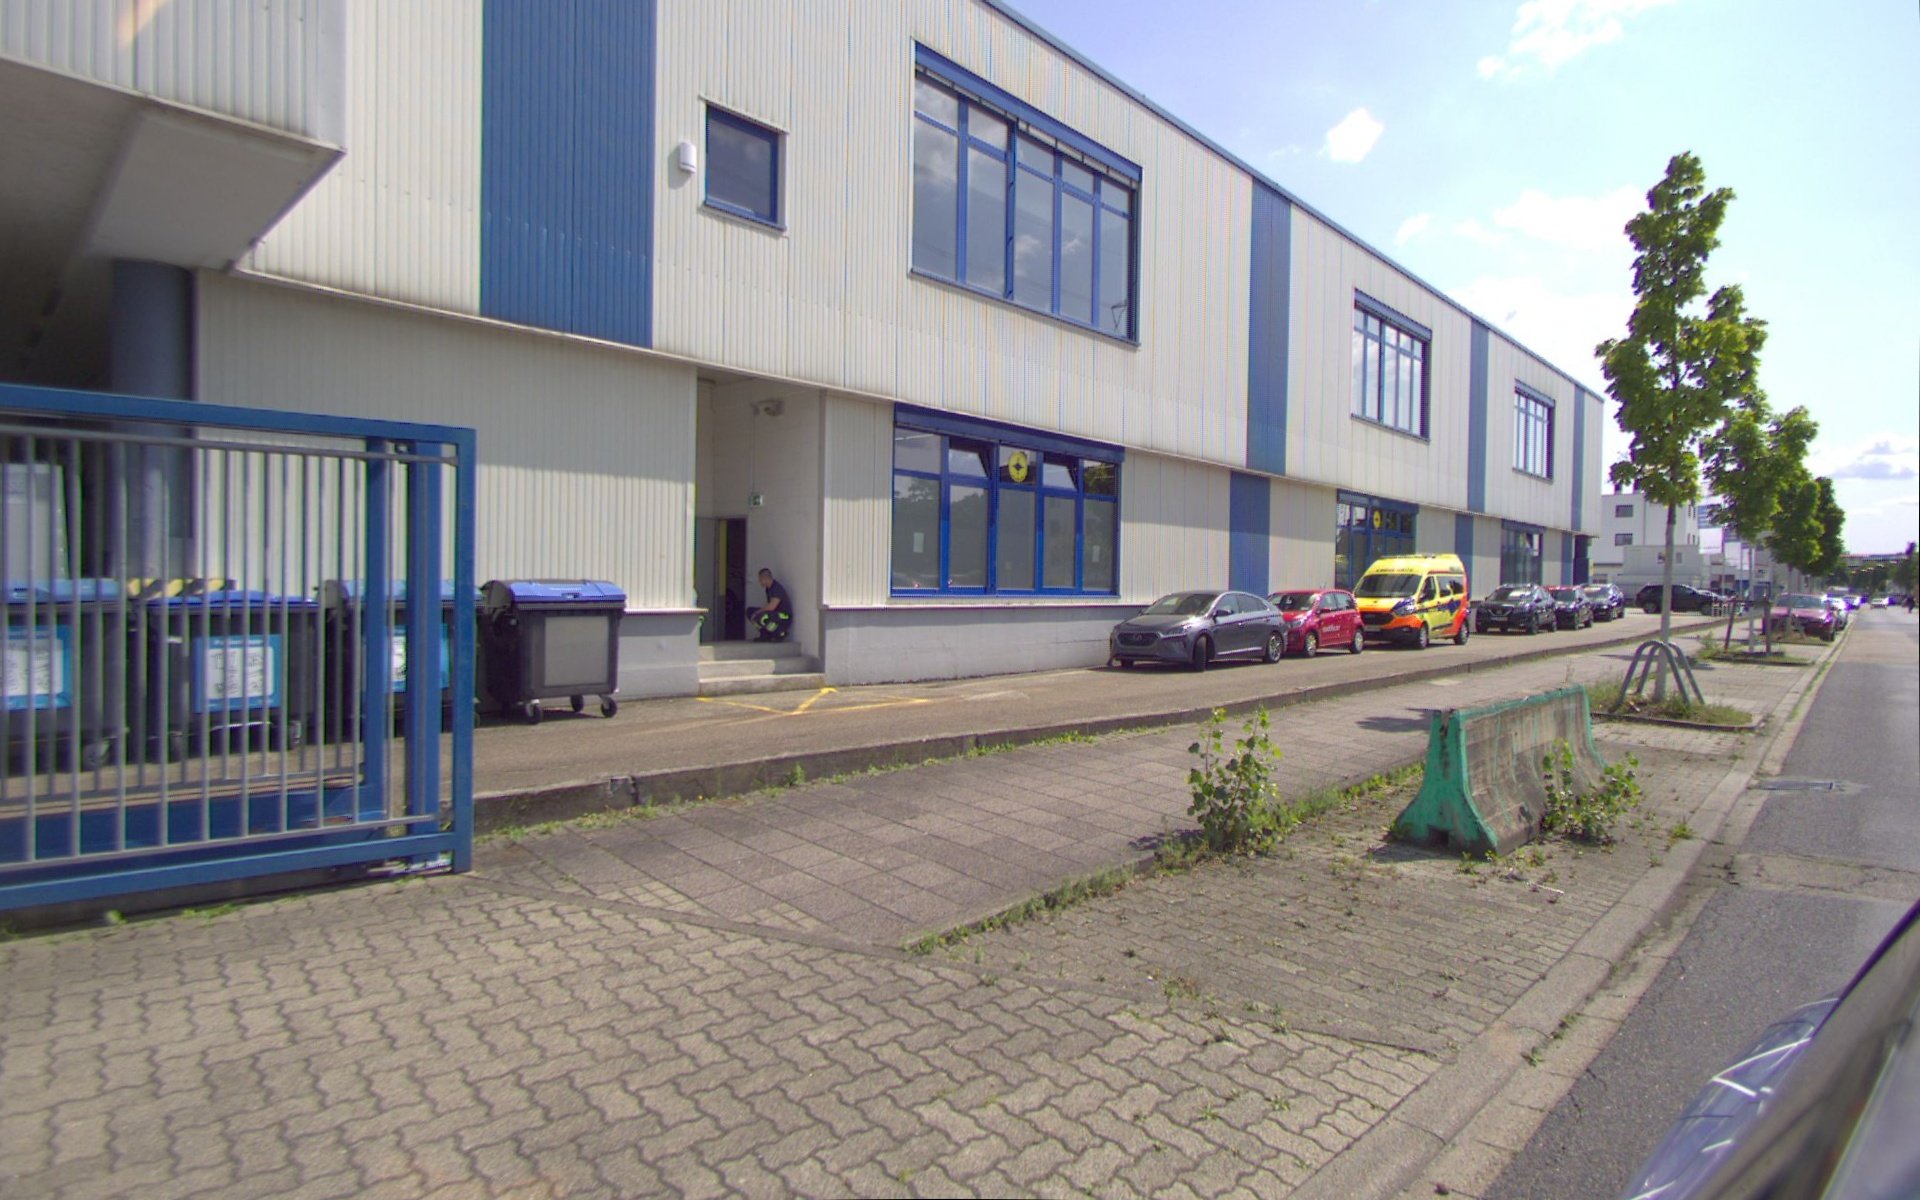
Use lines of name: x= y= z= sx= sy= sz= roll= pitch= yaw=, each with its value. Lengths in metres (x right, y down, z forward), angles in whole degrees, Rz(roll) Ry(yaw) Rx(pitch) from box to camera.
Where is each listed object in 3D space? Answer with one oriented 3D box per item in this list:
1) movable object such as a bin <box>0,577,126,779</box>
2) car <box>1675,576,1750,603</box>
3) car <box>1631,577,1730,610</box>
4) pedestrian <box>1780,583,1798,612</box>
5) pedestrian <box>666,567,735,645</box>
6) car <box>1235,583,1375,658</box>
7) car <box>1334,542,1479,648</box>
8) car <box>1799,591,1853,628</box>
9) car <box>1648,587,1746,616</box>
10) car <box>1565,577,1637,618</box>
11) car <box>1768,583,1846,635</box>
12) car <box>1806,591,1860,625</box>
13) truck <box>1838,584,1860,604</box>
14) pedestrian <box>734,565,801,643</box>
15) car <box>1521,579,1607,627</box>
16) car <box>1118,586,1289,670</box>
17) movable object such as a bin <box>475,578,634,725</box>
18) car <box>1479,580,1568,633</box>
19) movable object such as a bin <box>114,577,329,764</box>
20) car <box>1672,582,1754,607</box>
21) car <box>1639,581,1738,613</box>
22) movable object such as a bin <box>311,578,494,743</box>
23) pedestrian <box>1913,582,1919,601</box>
movable object such as a bin: x=-7.008 y=0.550 z=7.512 sx=0.803 sy=1.431 sz=1.157 roll=0 pitch=0 yaw=41
car: x=49.505 y=-0.681 z=66.604 sx=3.805 sy=1.701 sz=1.764 roll=1 pitch=1 yaw=43
car: x=38.305 y=-0.375 z=53.836 sx=4.082 sy=1.707 sz=1.970 roll=1 pitch=1 yaw=42
pedestrian: x=51.569 y=-0.171 z=62.964 sx=0.769 sy=1.778 sz=0.775 roll=4 pitch=3 yaw=42
pedestrian: x=-3.528 y=0.088 z=13.750 sx=0.564 sy=1.026 sz=0.699 roll=-3 pitch=-2 yaw=43
car: x=7.716 y=0.388 z=22.461 sx=1.572 sy=1.509 sz=3.758 roll=0 pitch=1 yaw=43
car: x=11.767 y=-0.148 z=26.447 sx=1.923 sy=2.495 sz=5.178 roll=0 pitch=1 yaw=43
car: x=37.957 y=0.378 z=44.344 sx=1.668 sy=1.539 sz=3.934 roll=0 pitch=1 yaw=43
car: x=41.718 y=0.062 z=57.351 sx=4.280 sy=1.438 sz=1.968 roll=2 pitch=2 yaw=44
car: x=27.499 y=-0.157 z=43.364 sx=1.827 sy=1.530 sz=4.571 roll=1 pitch=4 yaw=43
car: x=29.064 y=0.264 z=34.690 sx=1.755 sy=1.671 sz=4.603 roll=0 pitch=1 yaw=44
car: x=41.478 y=0.351 z=48.050 sx=1.834 sy=1.539 sz=4.393 roll=1 pitch=1 yaw=42
truck: x=153.623 y=-1.094 z=174.934 sx=2.597 sy=3.267 sz=7.958 roll=-2 pitch=-1 yaw=41
pedestrian: x=-2.755 y=0.056 z=14.518 sx=0.564 sy=1.089 sz=0.739 roll=-3 pitch=-2 yaw=43
car: x=23.129 y=0.057 z=38.698 sx=1.993 sy=1.677 sz=4.224 roll=1 pitch=2 yaw=43
car: x=4.676 y=0.457 z=19.103 sx=1.495 sy=1.421 sz=3.795 roll=0 pitch=1 yaw=43
movable object such as a bin: x=-4.238 y=0.489 z=10.626 sx=0.803 sy=1.431 sz=1.337 roll=0 pitch=0 yaw=42
car: x=19.392 y=0.154 z=34.752 sx=1.714 sy=1.672 sz=4.150 roll=1 pitch=2 yaw=43
movable object such as a bin: x=-6.191 y=0.528 z=8.515 sx=0.803 sy=1.431 sz=1.337 roll=0 pitch=0 yaw=42
car: x=48.039 y=-0.363 z=64.627 sx=3.988 sy=1.438 sz=1.968 roll=2 pitch=2 yaw=44
car: x=39.888 y=-0.173 z=55.478 sx=4.223 sy=1.668 sz=2.115 roll=1 pitch=1 yaw=42
movable object such as a bin: x=-5.238 y=0.521 z=9.550 sx=0.803 sy=1.431 sz=1.337 roll=0 pitch=0 yaw=42
pedestrian: x=100.551 y=-0.886 z=105.788 sx=0.980 sy=1.976 sz=1.084 roll=1 pitch=1 yaw=20
